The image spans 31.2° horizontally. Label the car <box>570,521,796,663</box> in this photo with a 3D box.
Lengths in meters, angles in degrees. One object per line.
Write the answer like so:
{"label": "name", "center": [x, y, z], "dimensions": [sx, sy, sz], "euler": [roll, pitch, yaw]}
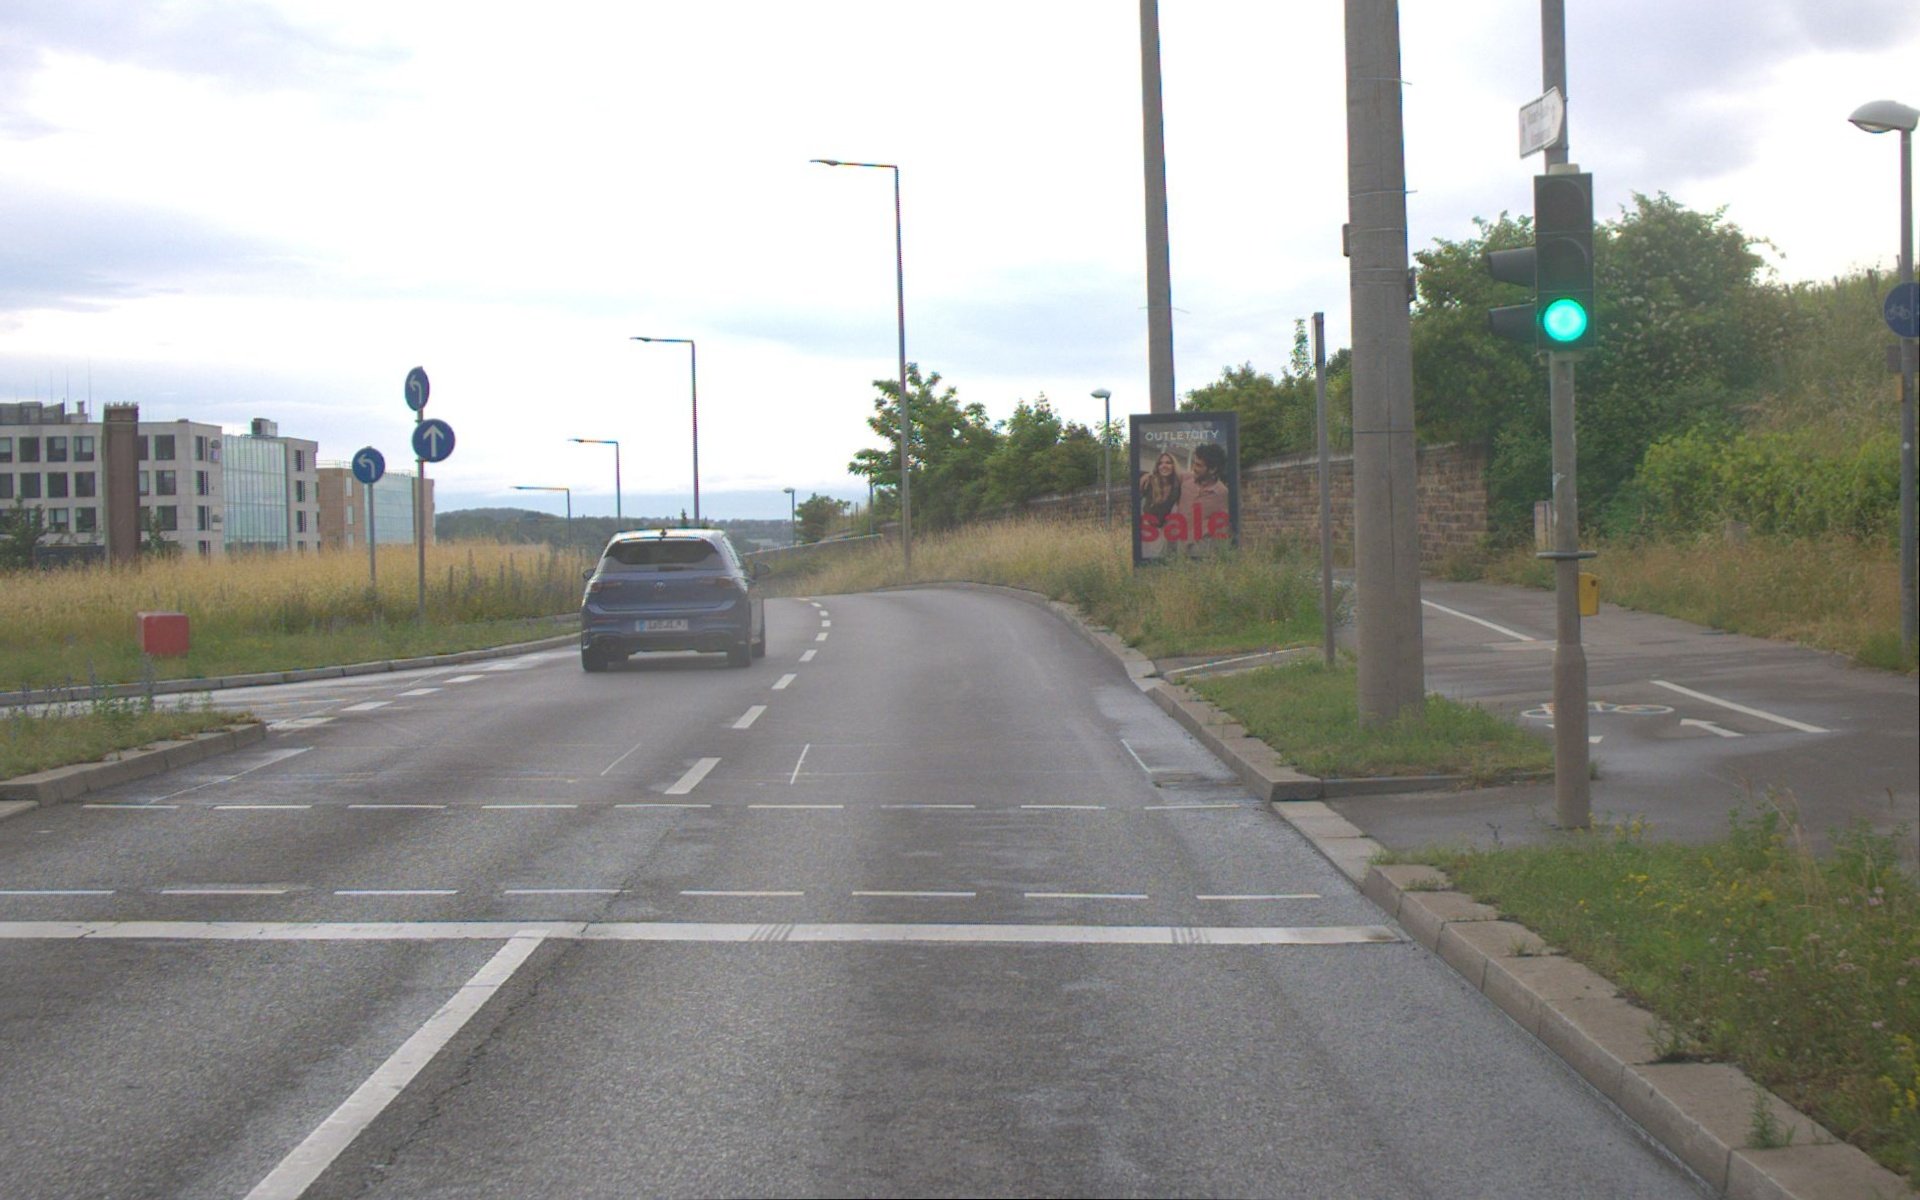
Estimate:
{"label": "car", "center": [-2.900, -0.095, 36.810], "dimensions": [1.838, 1.389, 4.000], "euler": [-1, 0, 4]}
